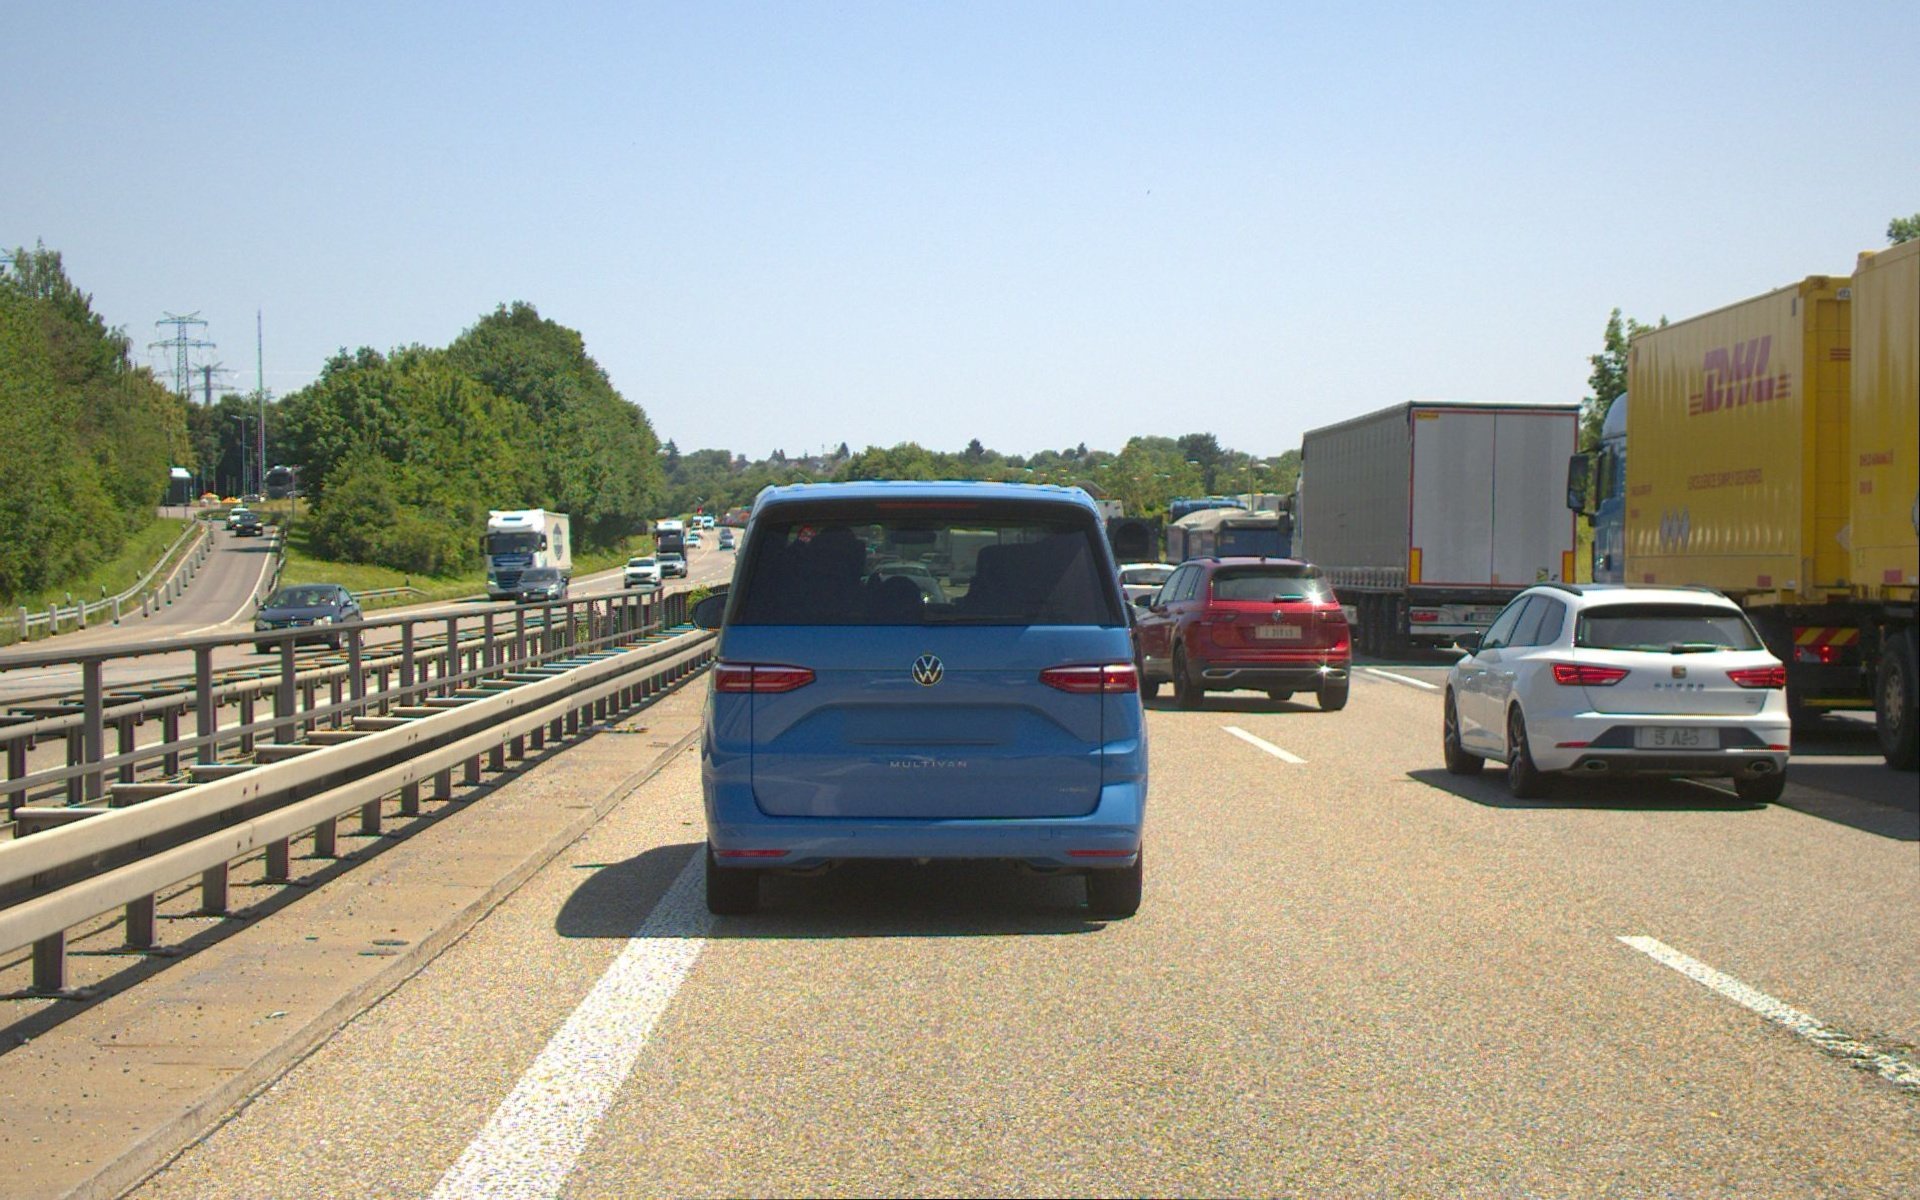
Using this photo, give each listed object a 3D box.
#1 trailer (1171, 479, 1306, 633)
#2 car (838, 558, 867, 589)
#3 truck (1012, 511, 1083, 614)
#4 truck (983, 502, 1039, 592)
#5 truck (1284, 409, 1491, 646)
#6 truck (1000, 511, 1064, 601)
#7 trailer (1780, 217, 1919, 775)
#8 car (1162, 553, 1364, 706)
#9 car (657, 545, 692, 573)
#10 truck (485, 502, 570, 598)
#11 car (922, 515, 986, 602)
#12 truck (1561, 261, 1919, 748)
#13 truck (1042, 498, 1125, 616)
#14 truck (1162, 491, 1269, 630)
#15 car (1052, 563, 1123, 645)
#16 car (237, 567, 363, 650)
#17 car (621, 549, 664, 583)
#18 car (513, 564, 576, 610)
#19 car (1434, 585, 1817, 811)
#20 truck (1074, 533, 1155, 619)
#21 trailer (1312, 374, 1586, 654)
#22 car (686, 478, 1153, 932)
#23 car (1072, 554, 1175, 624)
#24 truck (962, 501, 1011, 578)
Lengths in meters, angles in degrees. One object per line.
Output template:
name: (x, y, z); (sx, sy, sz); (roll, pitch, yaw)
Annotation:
trailer: (7.181, -1.084, 89.921); (2.379, 3.731, 11.188); (1, 0, -1)
car: (-6.765, -1.642, 216.839); (1.739, 1.904, 3.681); (1, 0, -1)
truck: (4.404, -1.857, 175.643); (2.833, 5.023, 11.817); (1, 0, -2)
truck: (3.121, -3.227, 213.598); (2.833, 5.354, 12.556); (1, 0, -2)
truck: (7.782, -1.281, 63.434); (2.768, 4.081, 6.984); (1, 0, -1)
truck: (4.012, -2.395, 194.930); (2.833, 4.869, 13.221); (1, 0, -2)
trailer: (8.236, -0.734, 24.224); (2.701, 4.010, 8.930); (1, 0, 0)
car: (3.289, 0.291, 37.953); (1.851, 1.603, 4.000); (0, 0, 0)
car: (-18.378, -2.653, 221.698); (1.922, 1.683, 4.122); (-2, 1, -1)
truck: (-19.765, -2.281, 157.397); (2.989, 4.264, 7.189); (-1, 1, -1)
car: (-0.389, -2.094, 180.443); (3.092, 4.382, 11.930); (1, 0, -1)
truck: (8.224, -0.776, 33.875); (2.722, 4.041, 10.336); (1, 0, 0)
truck: (5.454, -1.864, 153.631); (2.833, 5.023, 11.147); (1, 0, -2)
truck: (7.078, -1.071, 95.711); (2.367, 3.709, 6.033); (1, 0, -1)
car: (3.204, 0.096, 86.998); (1.583, 2.007, 3.493); (1, 0, -1)
car: (-13.752, 0.153, 71.814); (1.829, 1.604, 4.169); (-2, 1, -1)
car: (-16.888, -1.808, 183.205); (1.922, 1.683, 4.122); (-2, 1, -1)
car: (-15.112, -0.501, 125.215); (1.829, 1.604, 4.169); (-1, 1, -1)
car: (4.444, 0.606, 23.572); (1.781, 1.382, 4.188); (0, 0, 0)
truck: (6.002, -0.893, 134.757); (2.355, 3.207, 9.741); (1, 0, -2)
trailer: (7.881, -1.278, 57.018); (2.755, 4.132, 11.312); (1, 0, -1)
car: (-0.175, 0.411, 15.944); (1.882, 1.831, 4.000); (0, 0, 0)
car: (3.382, -0.234, 71.762); (1.838, 1.409, 4.000); (0, 0, -2)
truck: (1.787, -4.154, 240.098); (2.833, 5.023, 12.914); (1, 0, -2)
